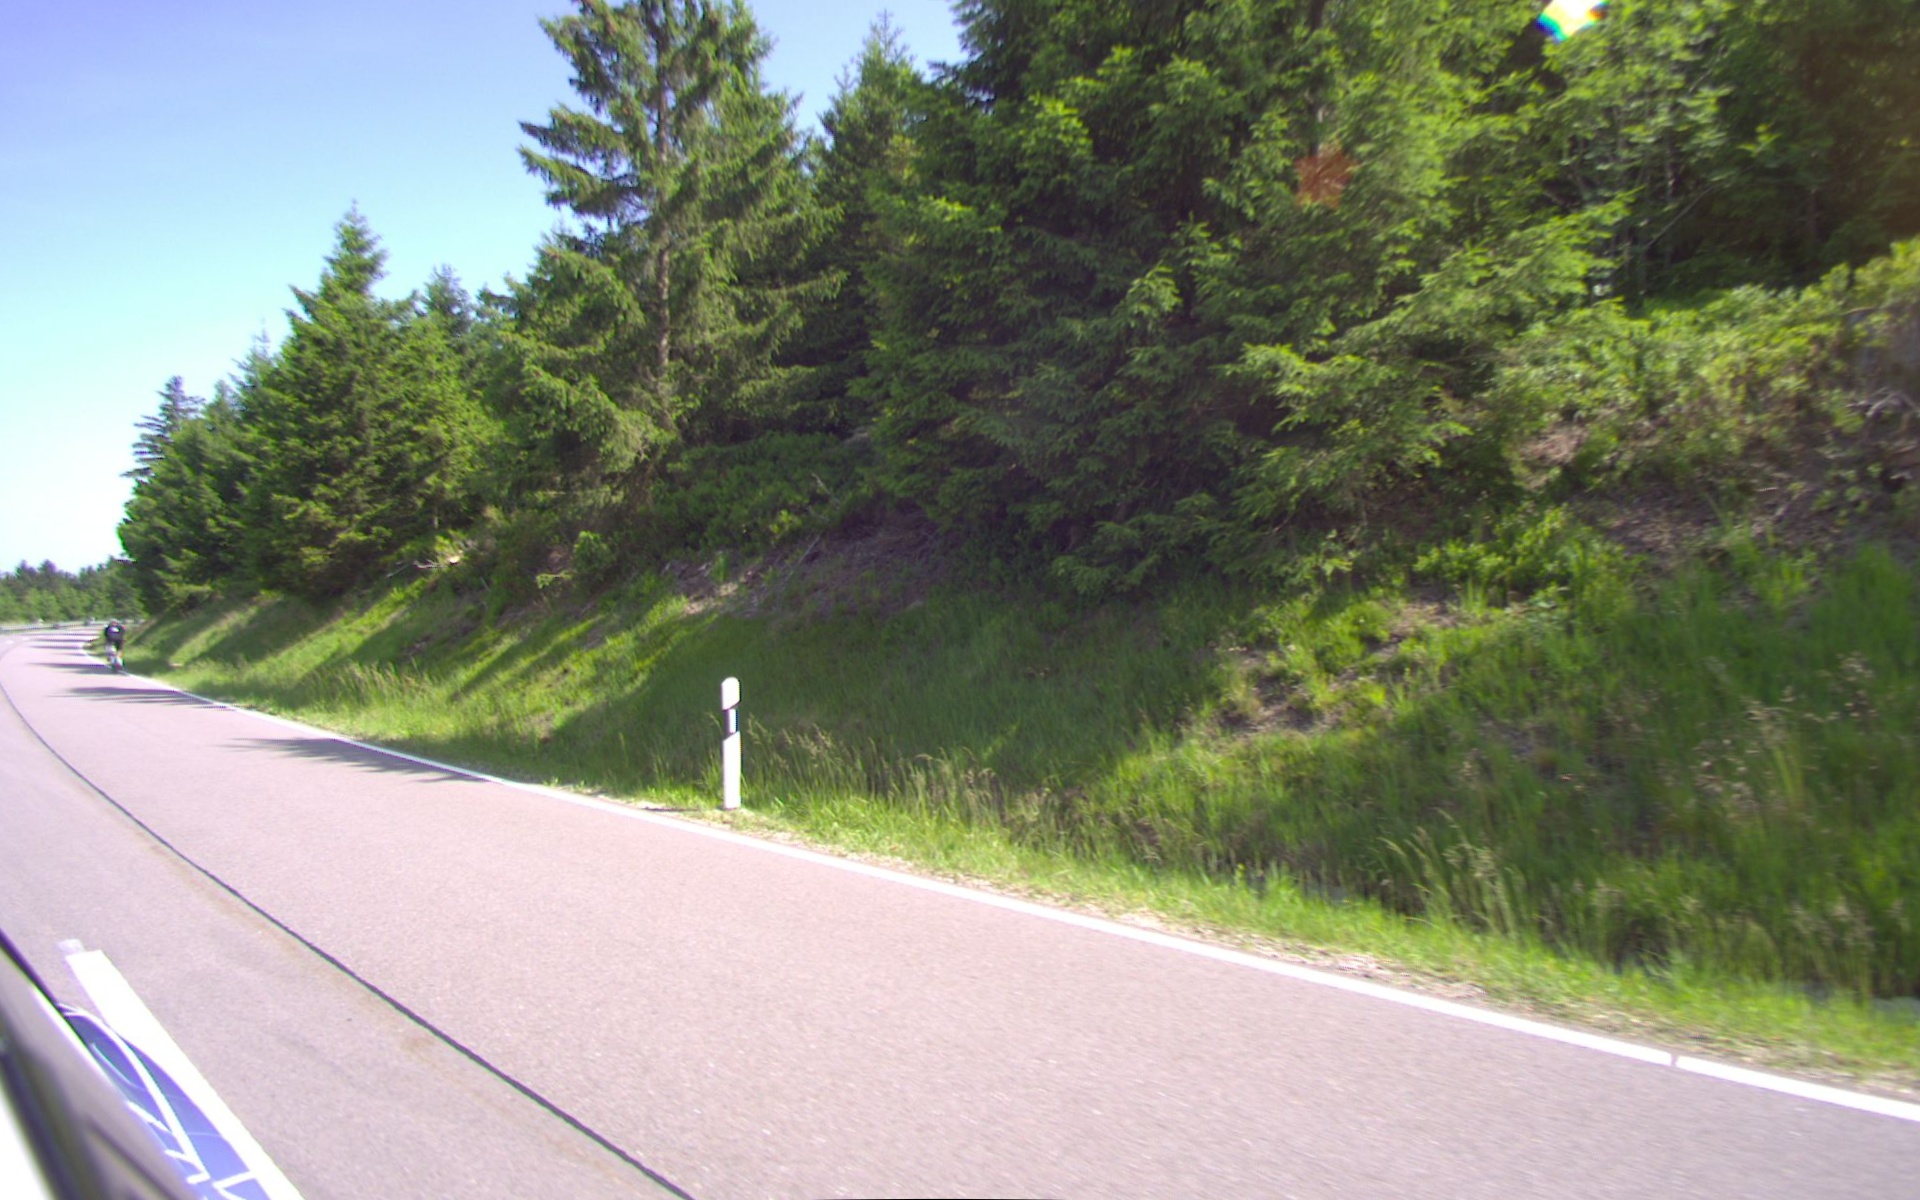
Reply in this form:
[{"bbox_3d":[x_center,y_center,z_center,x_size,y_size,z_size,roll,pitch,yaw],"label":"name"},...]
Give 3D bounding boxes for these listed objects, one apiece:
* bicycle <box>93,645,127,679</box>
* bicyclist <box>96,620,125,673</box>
[{"bbox_3d":[-24.214,1.744,28.812,0.546,0.893,2.063,2,-3,-45],"label":"bicycle"},{"bbox_3d":[-24.223,1.313,28.854,0.535,1.462,0.984,2,-3,-45],"label":"bicyclist"}]
